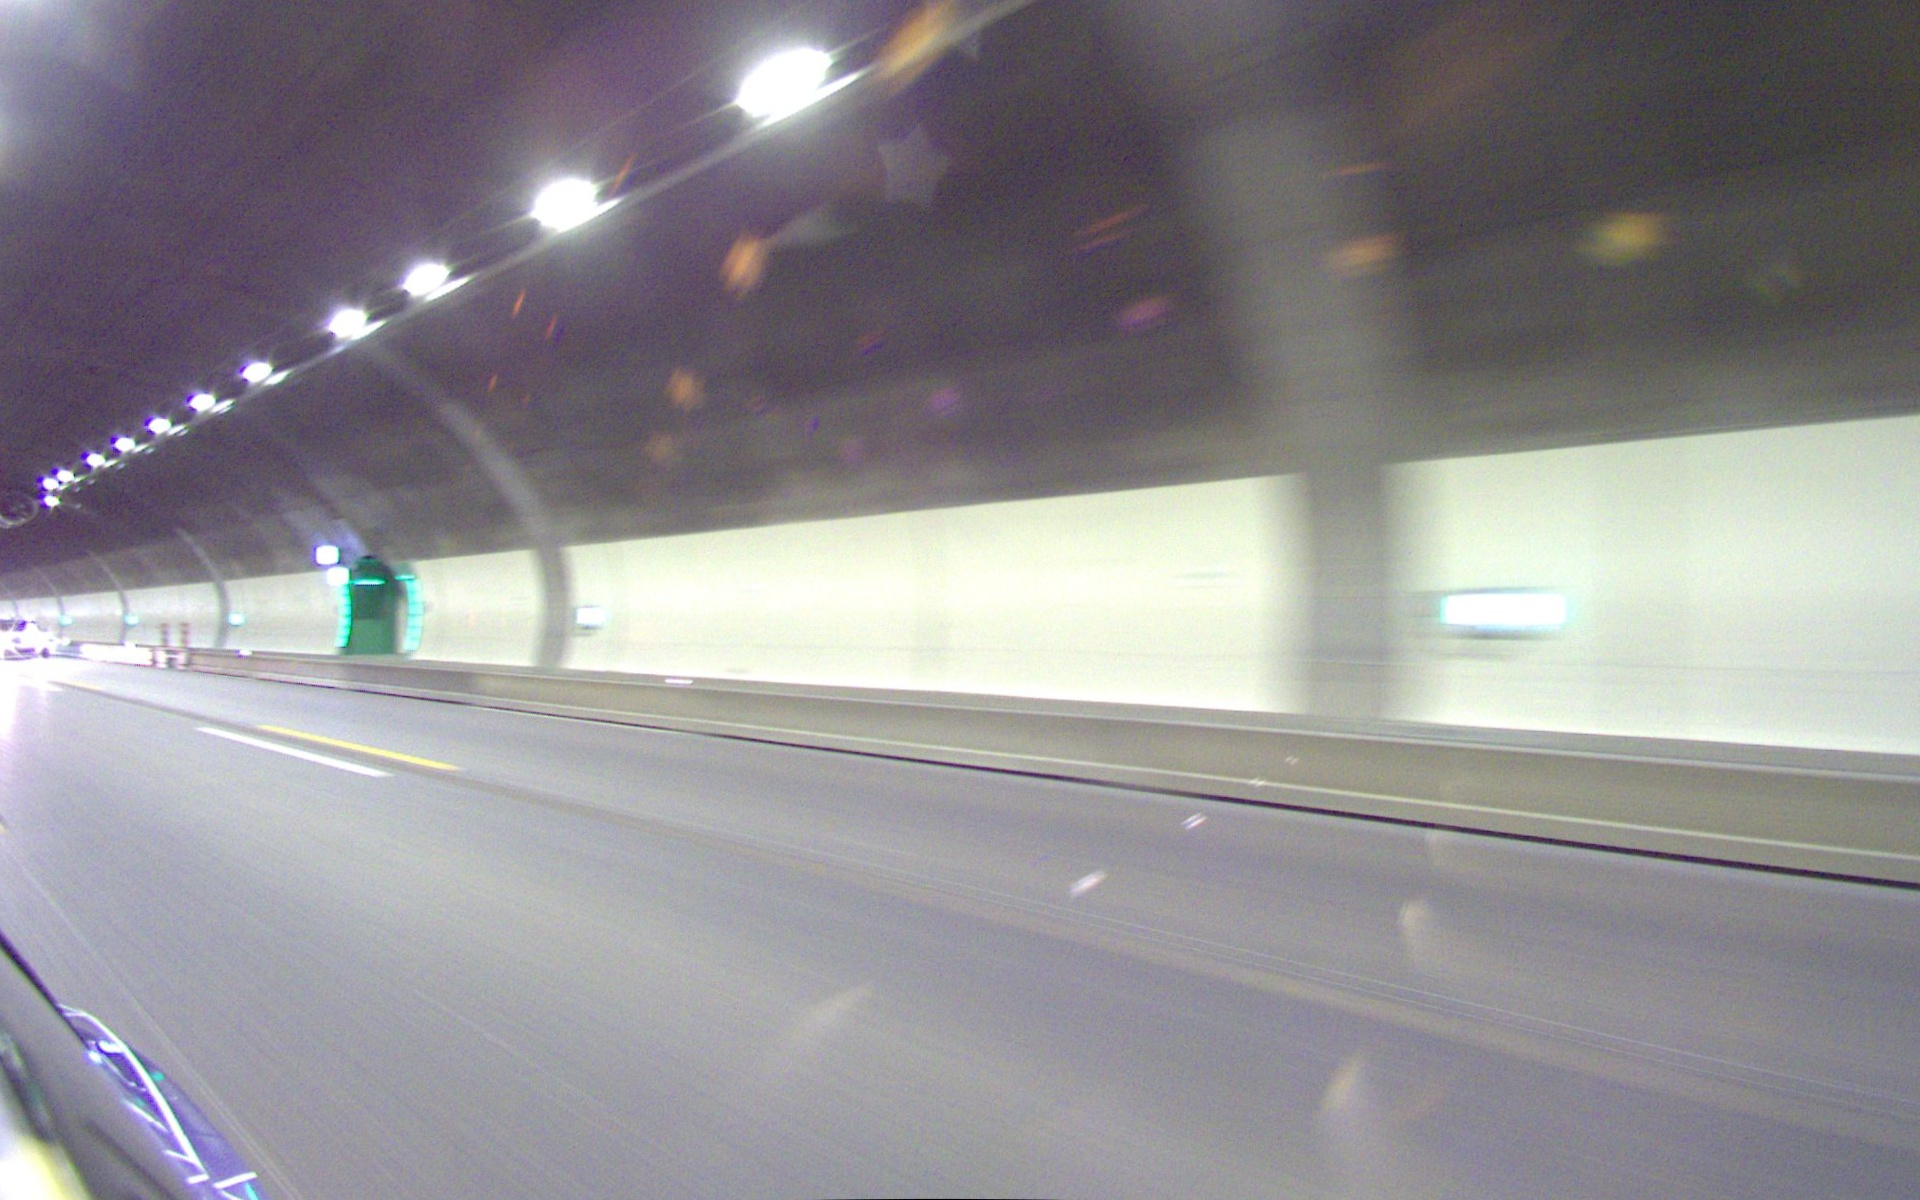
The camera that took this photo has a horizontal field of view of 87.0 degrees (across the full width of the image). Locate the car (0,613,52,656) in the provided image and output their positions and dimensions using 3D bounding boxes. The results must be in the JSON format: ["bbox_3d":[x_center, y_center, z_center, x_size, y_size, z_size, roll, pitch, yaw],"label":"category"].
[{"bbox_3d":[-36.675,1.298,39.163,4.094,1.584,1.744,-1,0,40],"label":"car"}]
